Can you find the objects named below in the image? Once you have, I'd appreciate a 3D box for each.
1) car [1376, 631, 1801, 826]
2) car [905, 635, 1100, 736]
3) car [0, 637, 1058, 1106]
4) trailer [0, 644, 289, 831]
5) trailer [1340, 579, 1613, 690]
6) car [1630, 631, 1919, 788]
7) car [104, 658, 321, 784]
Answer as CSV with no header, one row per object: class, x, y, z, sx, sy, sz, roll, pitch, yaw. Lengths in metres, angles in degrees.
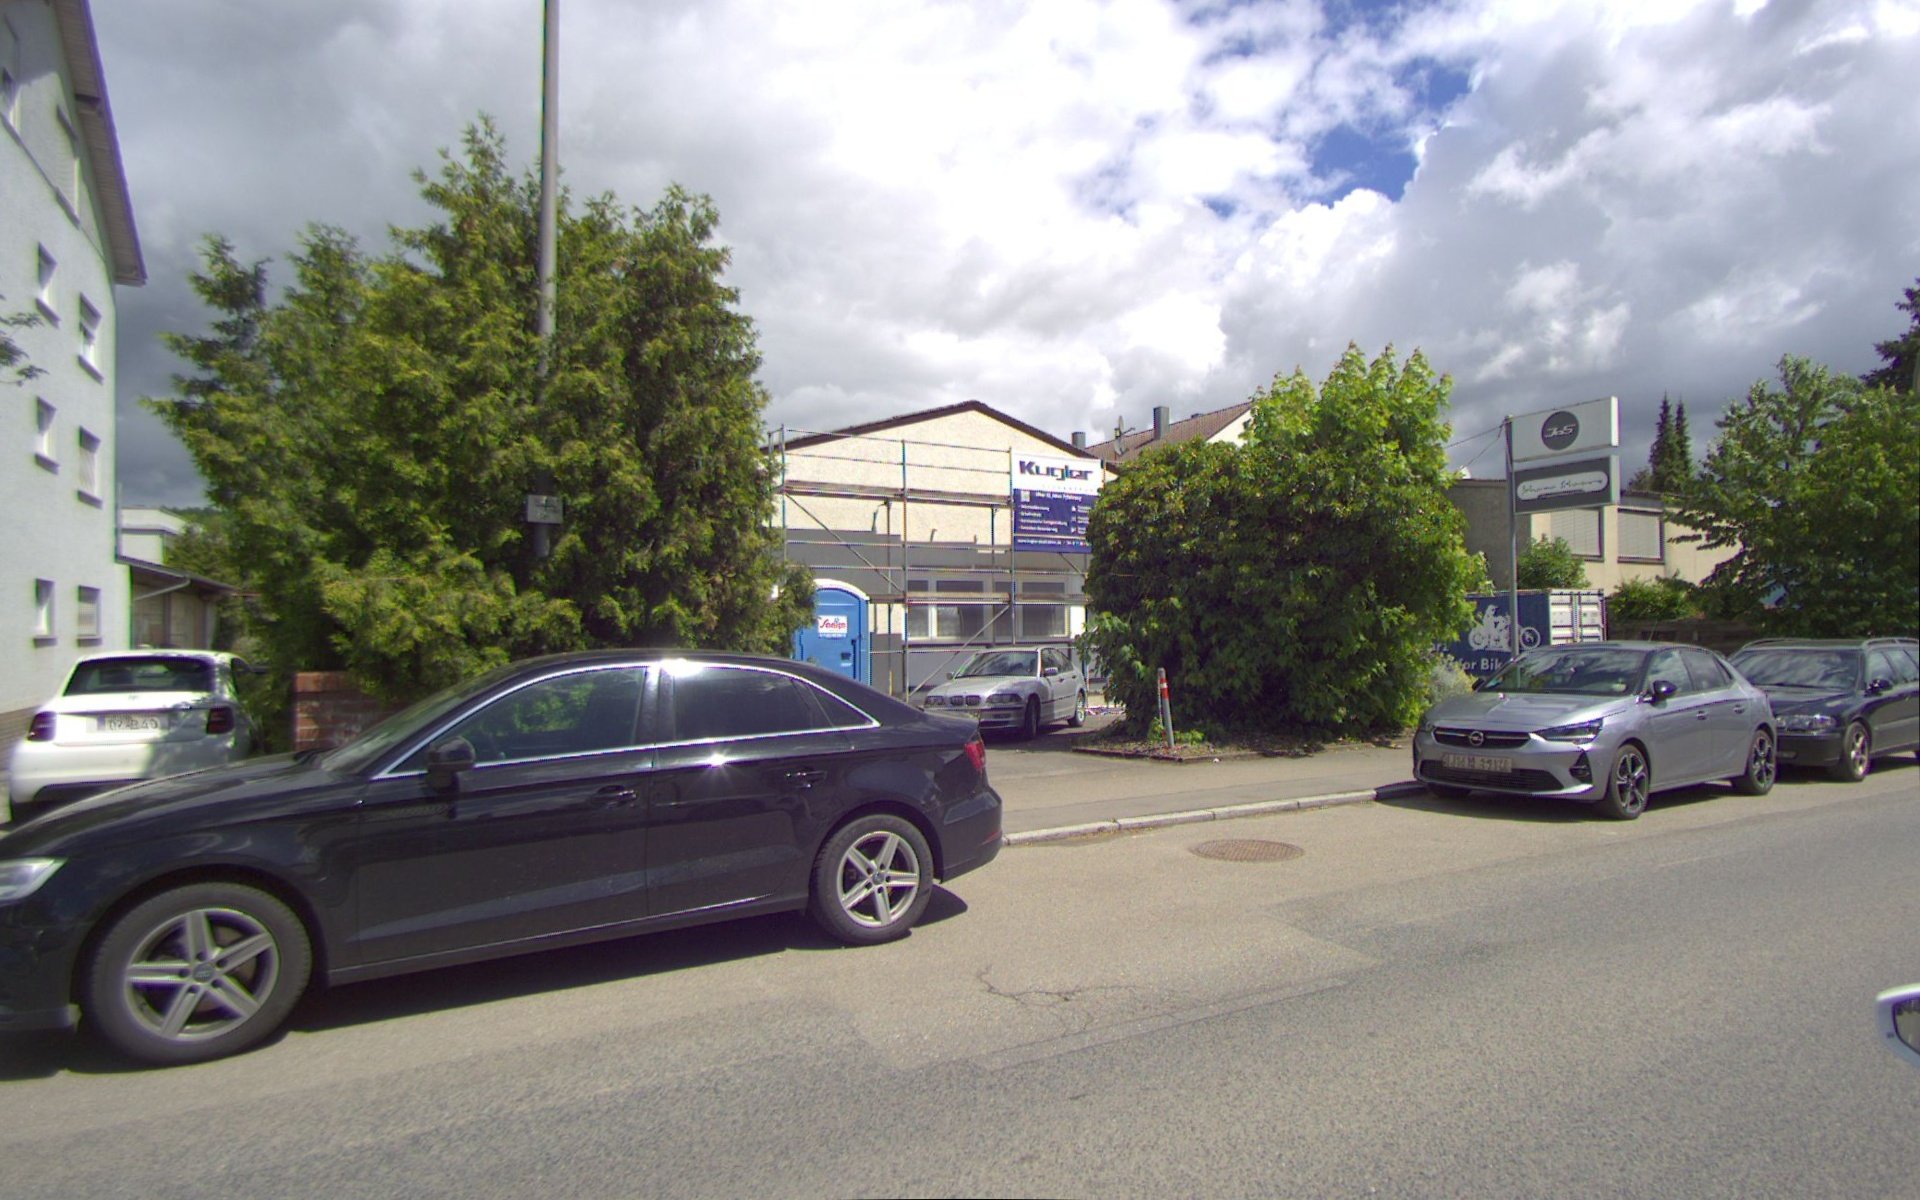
car,5.980,1.051,9.444,4.152,1.451,1.711,1,-3,-32
car,0.830,1.339,16.255,1.856,1.405,3.999,-3,-4,23
car,-1.752,0.925,4.870,4.287,1.433,1.655,1,-3,-31
trailer,-8.062,1.276,10.137,1.778,1.478,3.972,1,-5,-29
trailer,13.965,1.044,27.719,2.699,2.686,6.216,1,-4,-29
car,9.994,1.143,11.827,4.682,1.512,1.711,1,-3,-32
car,-10.363,1.613,14.256,1.976,1.470,3.970,1,-4,-30
